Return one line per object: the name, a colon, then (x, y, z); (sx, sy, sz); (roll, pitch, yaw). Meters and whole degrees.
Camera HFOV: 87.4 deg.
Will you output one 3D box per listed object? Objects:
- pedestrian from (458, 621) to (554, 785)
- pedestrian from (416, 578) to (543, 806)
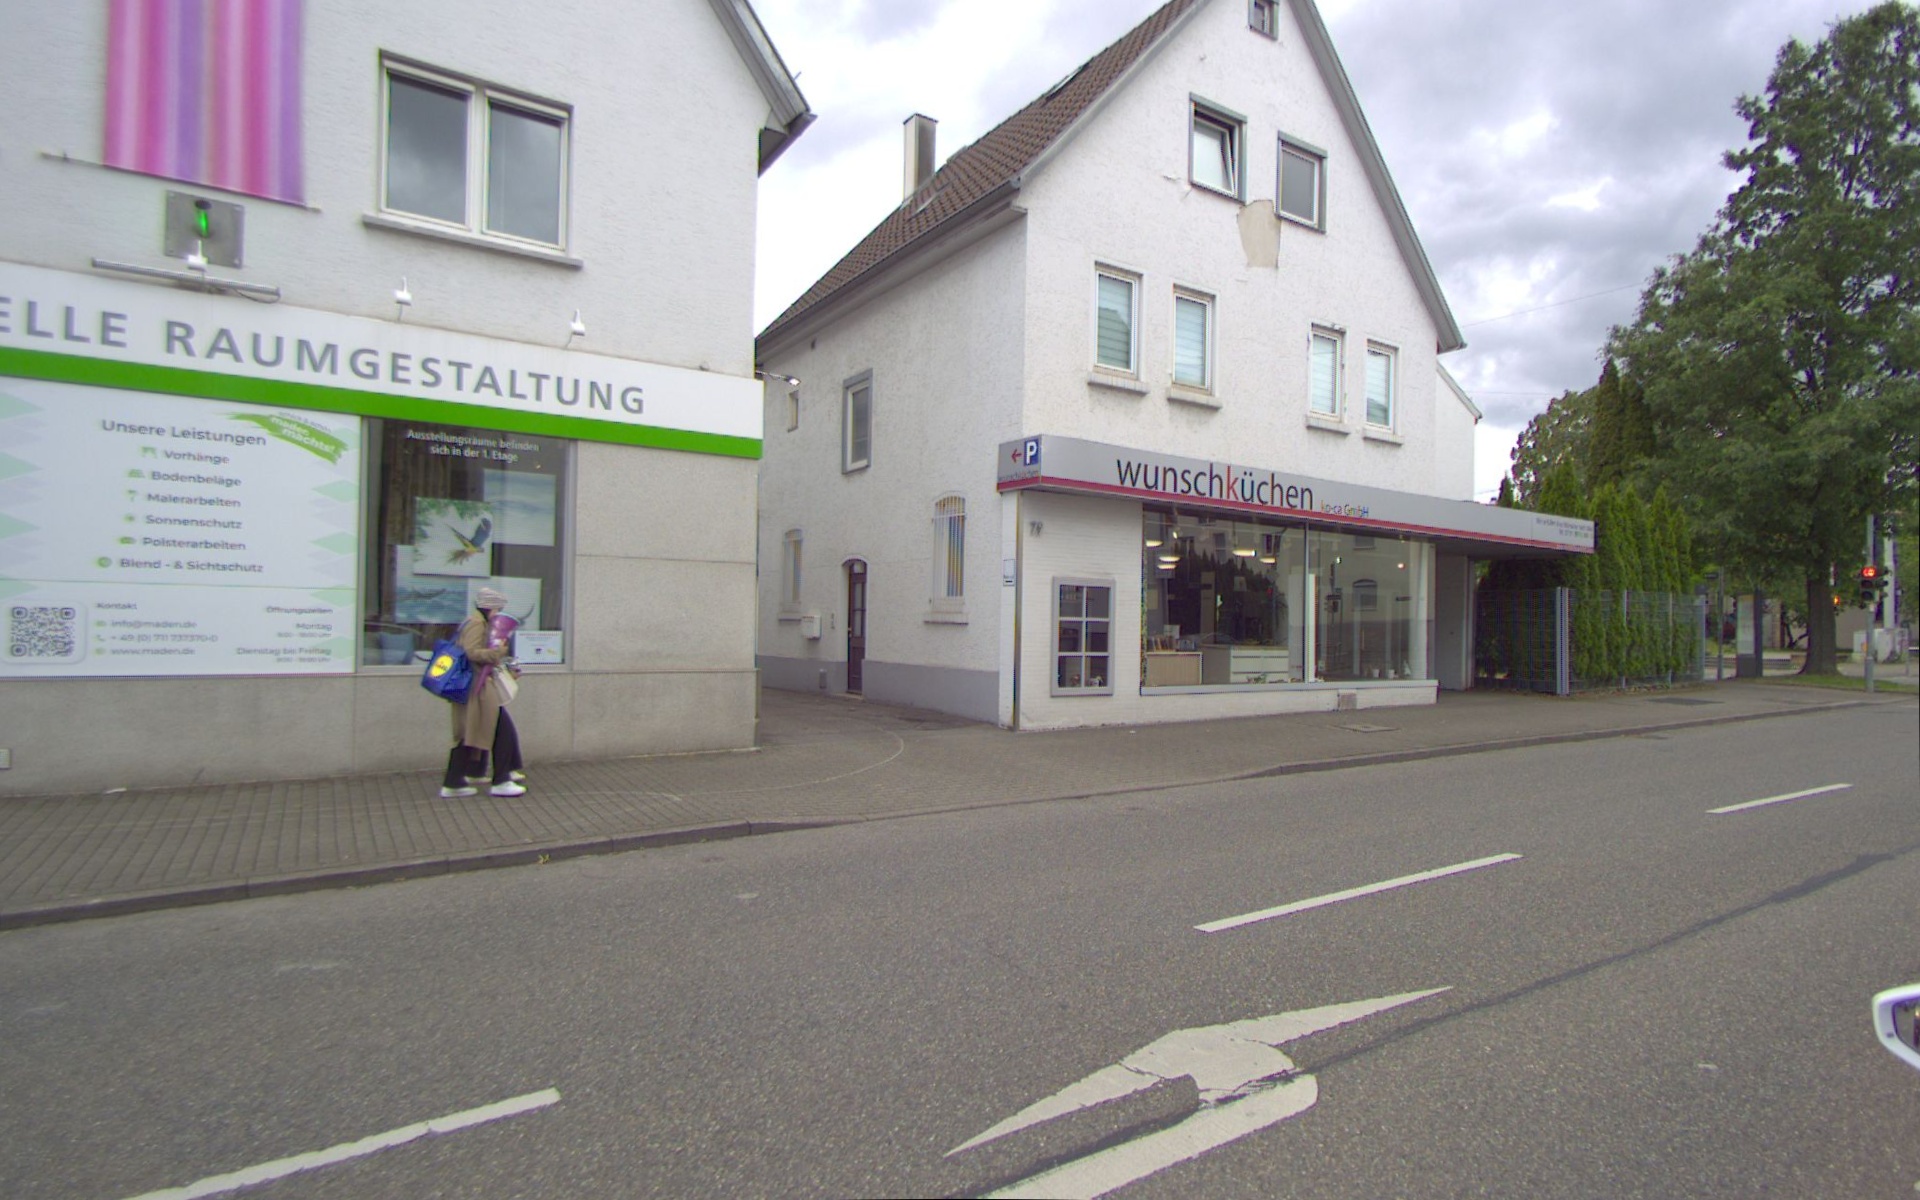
pedestrian: (-3.838, 0.841, 8.481); (0.648, 1.297, 0.596); (1, 1, -32)
pedestrian: (-3.757, 0.675, 7.834); (0.784, 1.638, 0.747); (1, 3, -32)
